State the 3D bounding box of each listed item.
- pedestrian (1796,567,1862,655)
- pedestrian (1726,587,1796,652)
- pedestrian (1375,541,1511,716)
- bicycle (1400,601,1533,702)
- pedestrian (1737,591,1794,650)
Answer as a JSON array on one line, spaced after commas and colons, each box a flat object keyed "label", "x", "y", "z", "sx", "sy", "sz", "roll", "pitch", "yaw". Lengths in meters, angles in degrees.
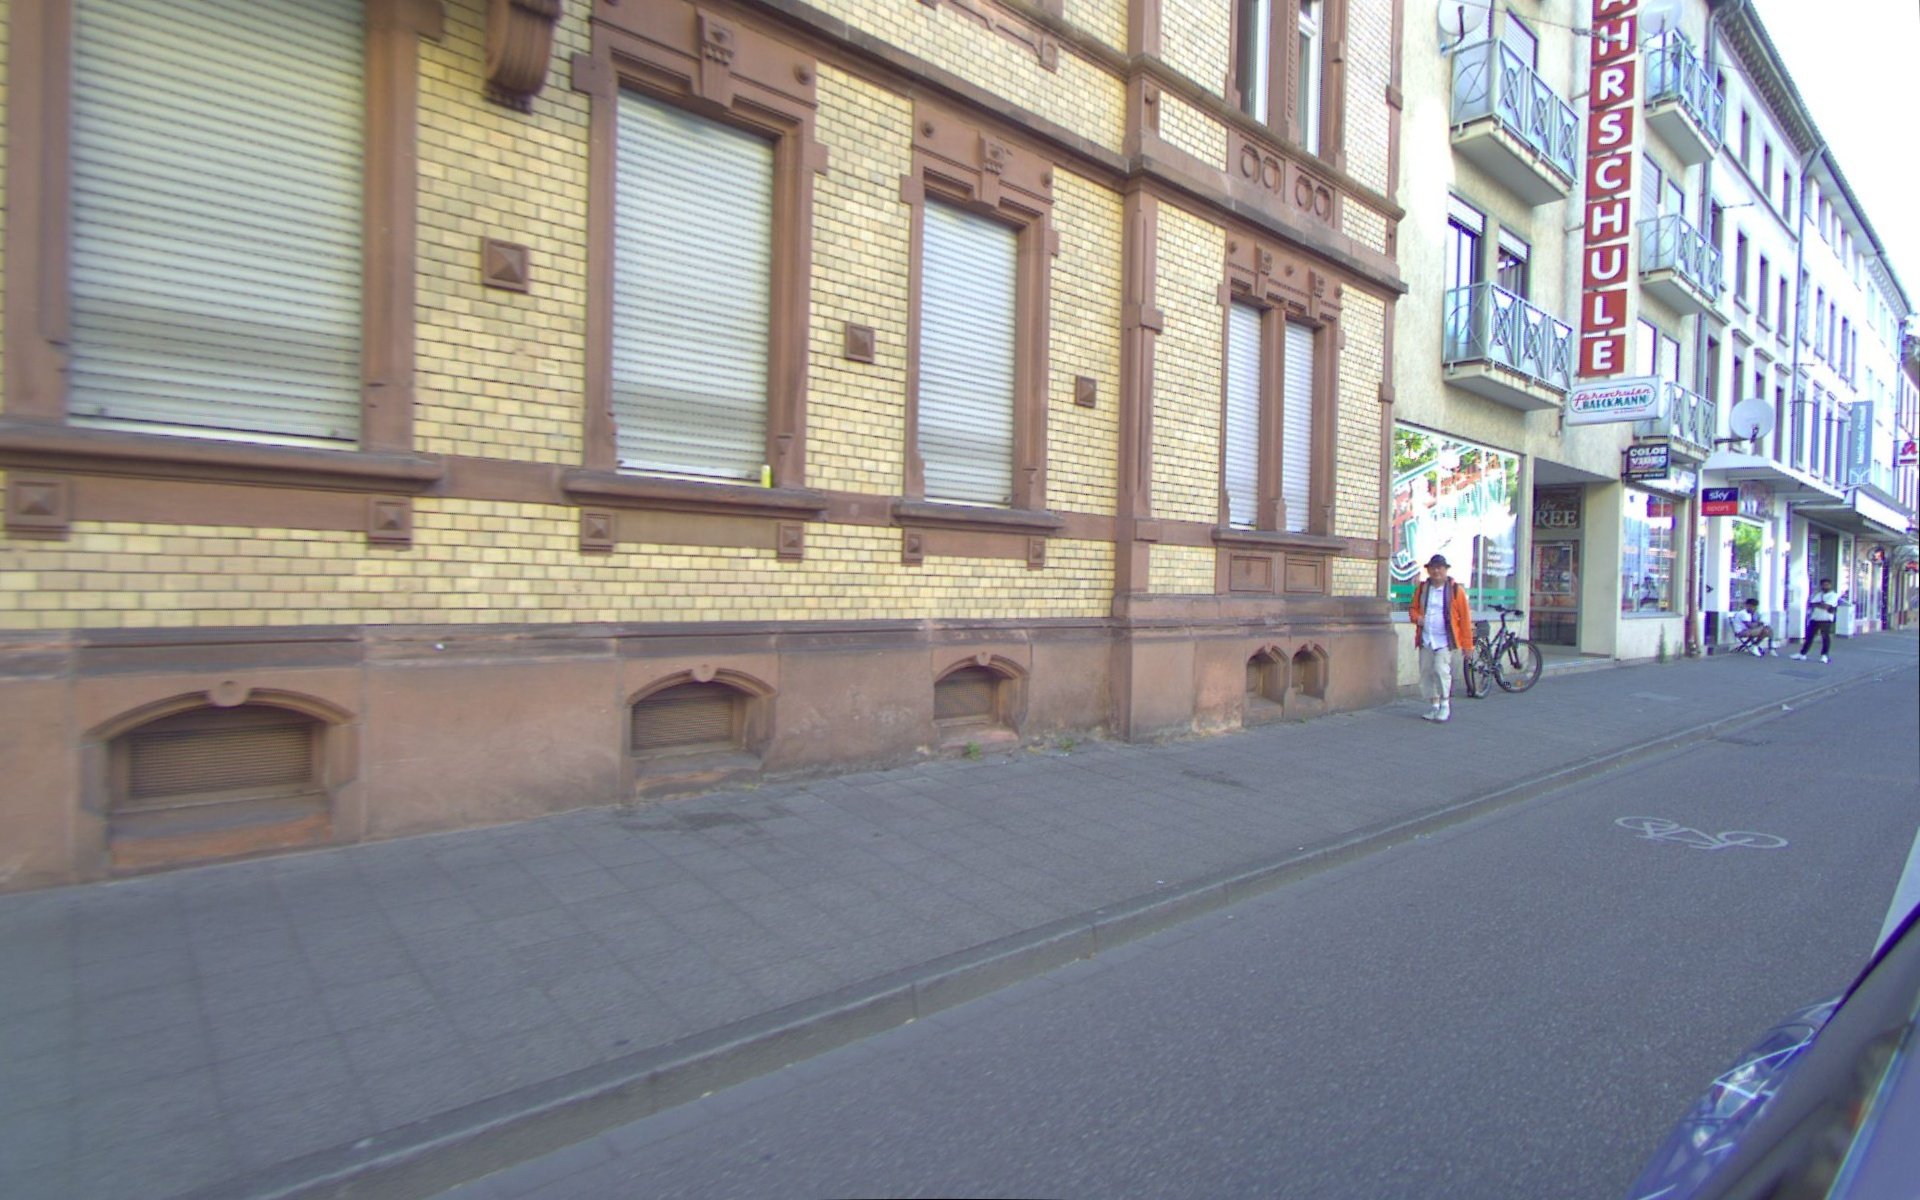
[{"label": "pedestrian", "x": 19.144, "y": 0.240, "z": 22.303, "sx": 0.665, "sy": 1.833, "sz": 0.709, "roll": 3, "pitch": 5, "yaw": -26}, {"label": "pedestrian", "x": 17.392, "y": 0.403, "z": 21.996, "sx": 0.819, "sy": 1.270, "sz": 0.704, "roll": 6, "pitch": 5, "yaw": 14}, {"label": "pedestrian", "x": 4.913, "y": 0.274, "z": 10.322, "sx": 0.810, "sy": 1.647, "sz": 0.801, "roll": 2, "pitch": 4, "yaw": -36}, {"label": "bicycle", "x": 6.107, "y": 0.573, "z": 12.125, "sx": 2.270, "sy": 1.074, "sz": 0.556, "roll": 0, "pitch": 3, "yaw": -41}, {"label": "pedestrian", "x": 18.078, "y": 0.445, "z": 22.736, "sx": 0.701, "sy": 1.188, "sz": 1.006, "roll": 7, "pitch": 5, "yaw": 29}]
